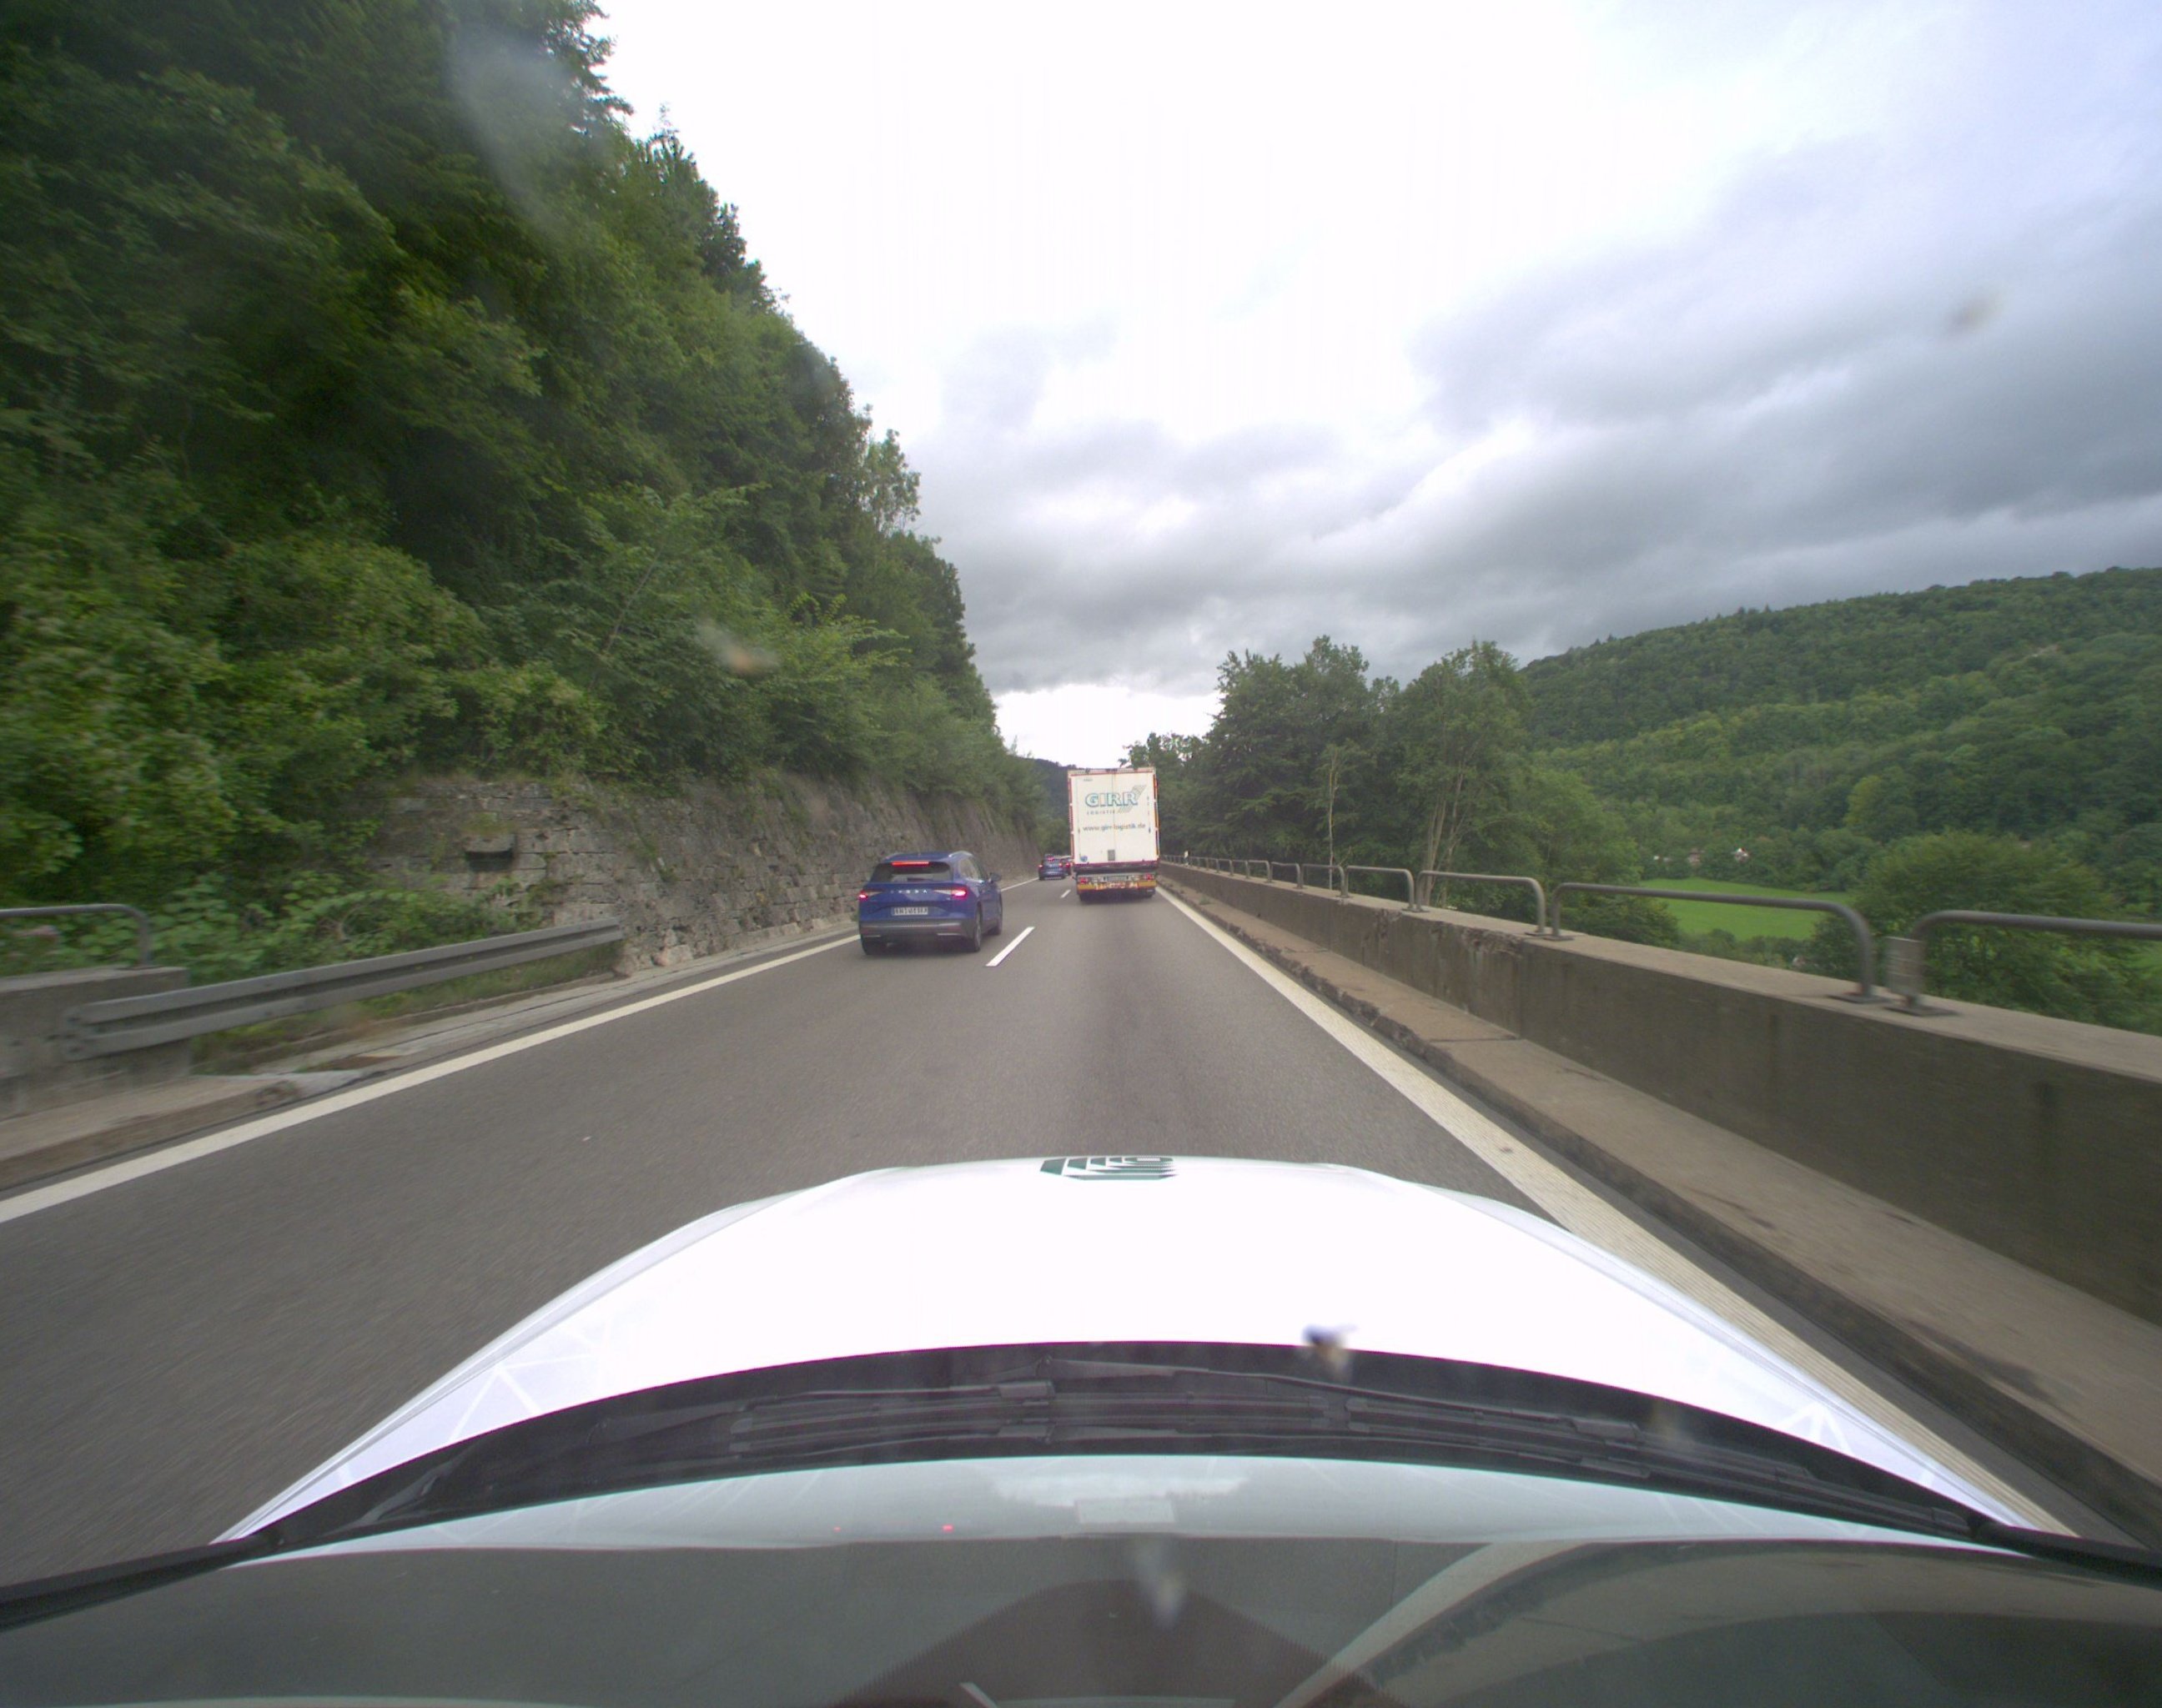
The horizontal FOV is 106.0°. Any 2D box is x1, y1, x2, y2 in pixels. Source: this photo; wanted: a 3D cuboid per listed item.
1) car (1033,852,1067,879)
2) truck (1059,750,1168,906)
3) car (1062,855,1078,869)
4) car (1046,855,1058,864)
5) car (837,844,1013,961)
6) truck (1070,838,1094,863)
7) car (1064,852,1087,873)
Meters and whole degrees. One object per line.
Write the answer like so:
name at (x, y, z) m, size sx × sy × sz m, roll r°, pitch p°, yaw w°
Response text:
car at (-2.006, 0.754, 54.152) m, size 1.987 × 1.596 × 4.353 m, roll -4°, pitch -1°, yaw 0°
truck at (1.113, -0.749, 30.976) m, size 3.073 × 4.464 × 15.159 m, roll 1°, pitch 0°, yaw 1°
car at (-1.208, 0.882, 90.318) m, size 1.739 × 1.486 × 3.999 m, roll 2°, pitch -1°, yaw 0°
car at (-5.497, 1.020, 154.863) m, size 1.744 × 1.587 × 3.989 m, roll 2°, pitch -1°, yaw -7°
car at (-2.489, 0.716, 14.418) m, size 1.986 × 1.632 × 5.010 m, roll -2°, pitch 0°, yaw 1°
truck at (0.083, -0.509, 131.161) m, size 2.630 × 3.857 × 12.334 m, roll 1°, pitch 0°, yaw -6°
car at (-0.401, 0.648, 63.487) m, size 1.739 × 1.587 × 4.001 m, roll 1°, pitch 0°, yaw 1°
